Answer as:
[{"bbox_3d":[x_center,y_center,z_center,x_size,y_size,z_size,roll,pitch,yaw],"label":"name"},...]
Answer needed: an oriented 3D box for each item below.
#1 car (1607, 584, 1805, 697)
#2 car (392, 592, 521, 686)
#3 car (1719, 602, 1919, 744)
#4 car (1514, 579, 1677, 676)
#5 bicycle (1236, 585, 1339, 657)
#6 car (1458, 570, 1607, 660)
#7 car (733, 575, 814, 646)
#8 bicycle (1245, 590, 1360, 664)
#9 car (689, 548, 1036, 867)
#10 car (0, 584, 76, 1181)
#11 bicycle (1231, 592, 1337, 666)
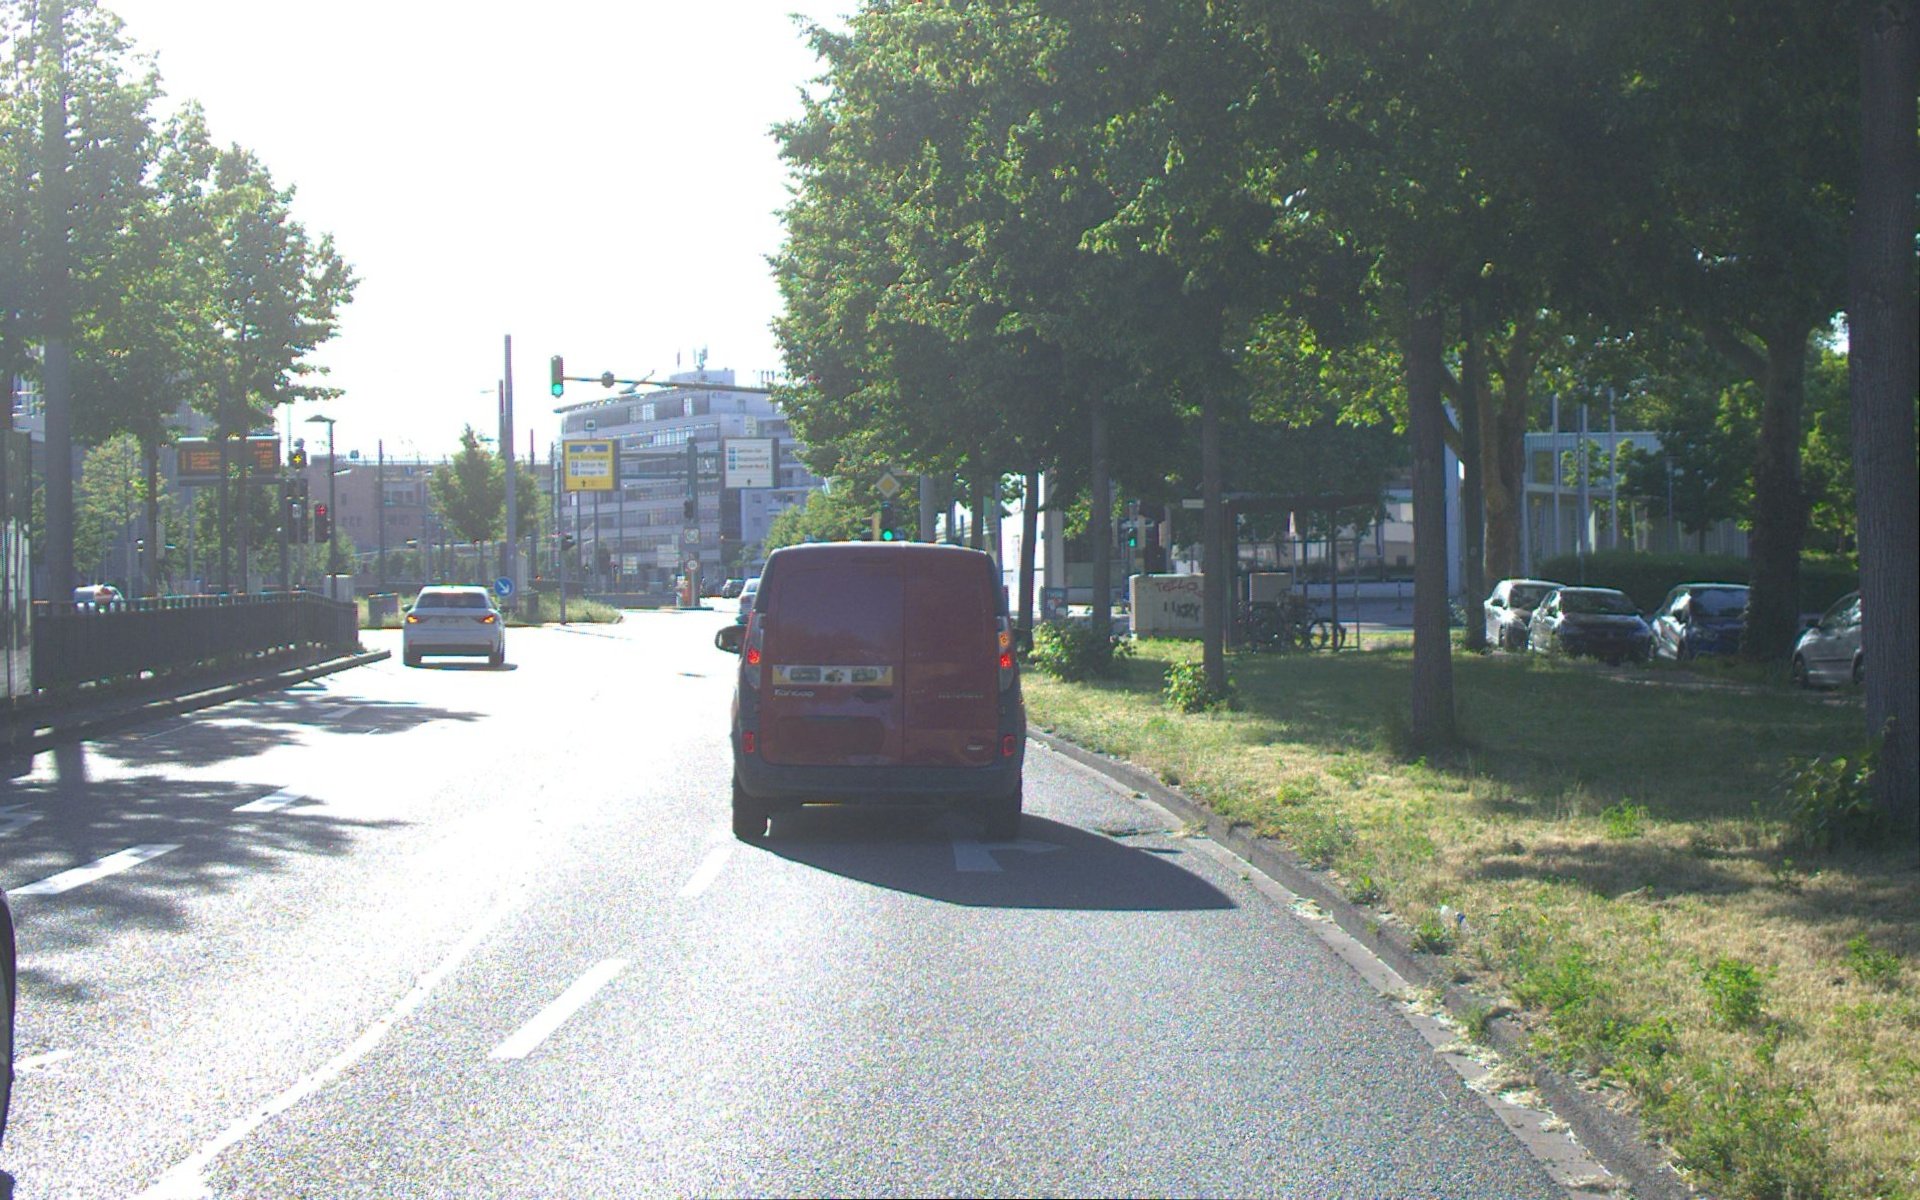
[{"bbox_3d":[11.621,0.621,53.814,1.871,1.678,4.001,1,0,-5],"label":"car"},{"bbox_3d":[-9.051,0.694,62.113,1.993,1.612,4.000,1,0,-4],"label":"car"},{"bbox_3d":[11.225,0.892,43.752,1.871,1.678,4.001,-1,0,-5],"label":"car"},{"bbox_3d":[11.575,0.499,62.873,1.871,1.678,4.001,1,0,-5],"label":"car"},{"bbox_3d":[5.820,0.370,61.165,1.778,1.264,0.479,0,0,-3],"label":"bicycle"},{"bbox_3d":[11.169,0.301,67.354,1.871,1.678,4.001,1,0,-6],"label":"car"},{"bbox_3d":[-5.392,0.282,99.386,2.269,2.007,4.710,0,0,-3],"label":"car"},{"bbox_3d":[5.891,0.466,59.109,1.917,1.264,0.479,0,0,-3],"label":"bicycle"},{"bbox_3d":[-0.717,0.637,21.999,1.808,1.831,4.001,1,0,-7],"label":"car"},{"bbox_3d":[-3.267,0.699,6.711,1.952,1.475,5.085,1,0,-2],"label":"car"},{"bbox_3d":[5.657,0.510,60.115,1.778,1.264,0.479,1,0,-3],"label":"bicycle"}]
